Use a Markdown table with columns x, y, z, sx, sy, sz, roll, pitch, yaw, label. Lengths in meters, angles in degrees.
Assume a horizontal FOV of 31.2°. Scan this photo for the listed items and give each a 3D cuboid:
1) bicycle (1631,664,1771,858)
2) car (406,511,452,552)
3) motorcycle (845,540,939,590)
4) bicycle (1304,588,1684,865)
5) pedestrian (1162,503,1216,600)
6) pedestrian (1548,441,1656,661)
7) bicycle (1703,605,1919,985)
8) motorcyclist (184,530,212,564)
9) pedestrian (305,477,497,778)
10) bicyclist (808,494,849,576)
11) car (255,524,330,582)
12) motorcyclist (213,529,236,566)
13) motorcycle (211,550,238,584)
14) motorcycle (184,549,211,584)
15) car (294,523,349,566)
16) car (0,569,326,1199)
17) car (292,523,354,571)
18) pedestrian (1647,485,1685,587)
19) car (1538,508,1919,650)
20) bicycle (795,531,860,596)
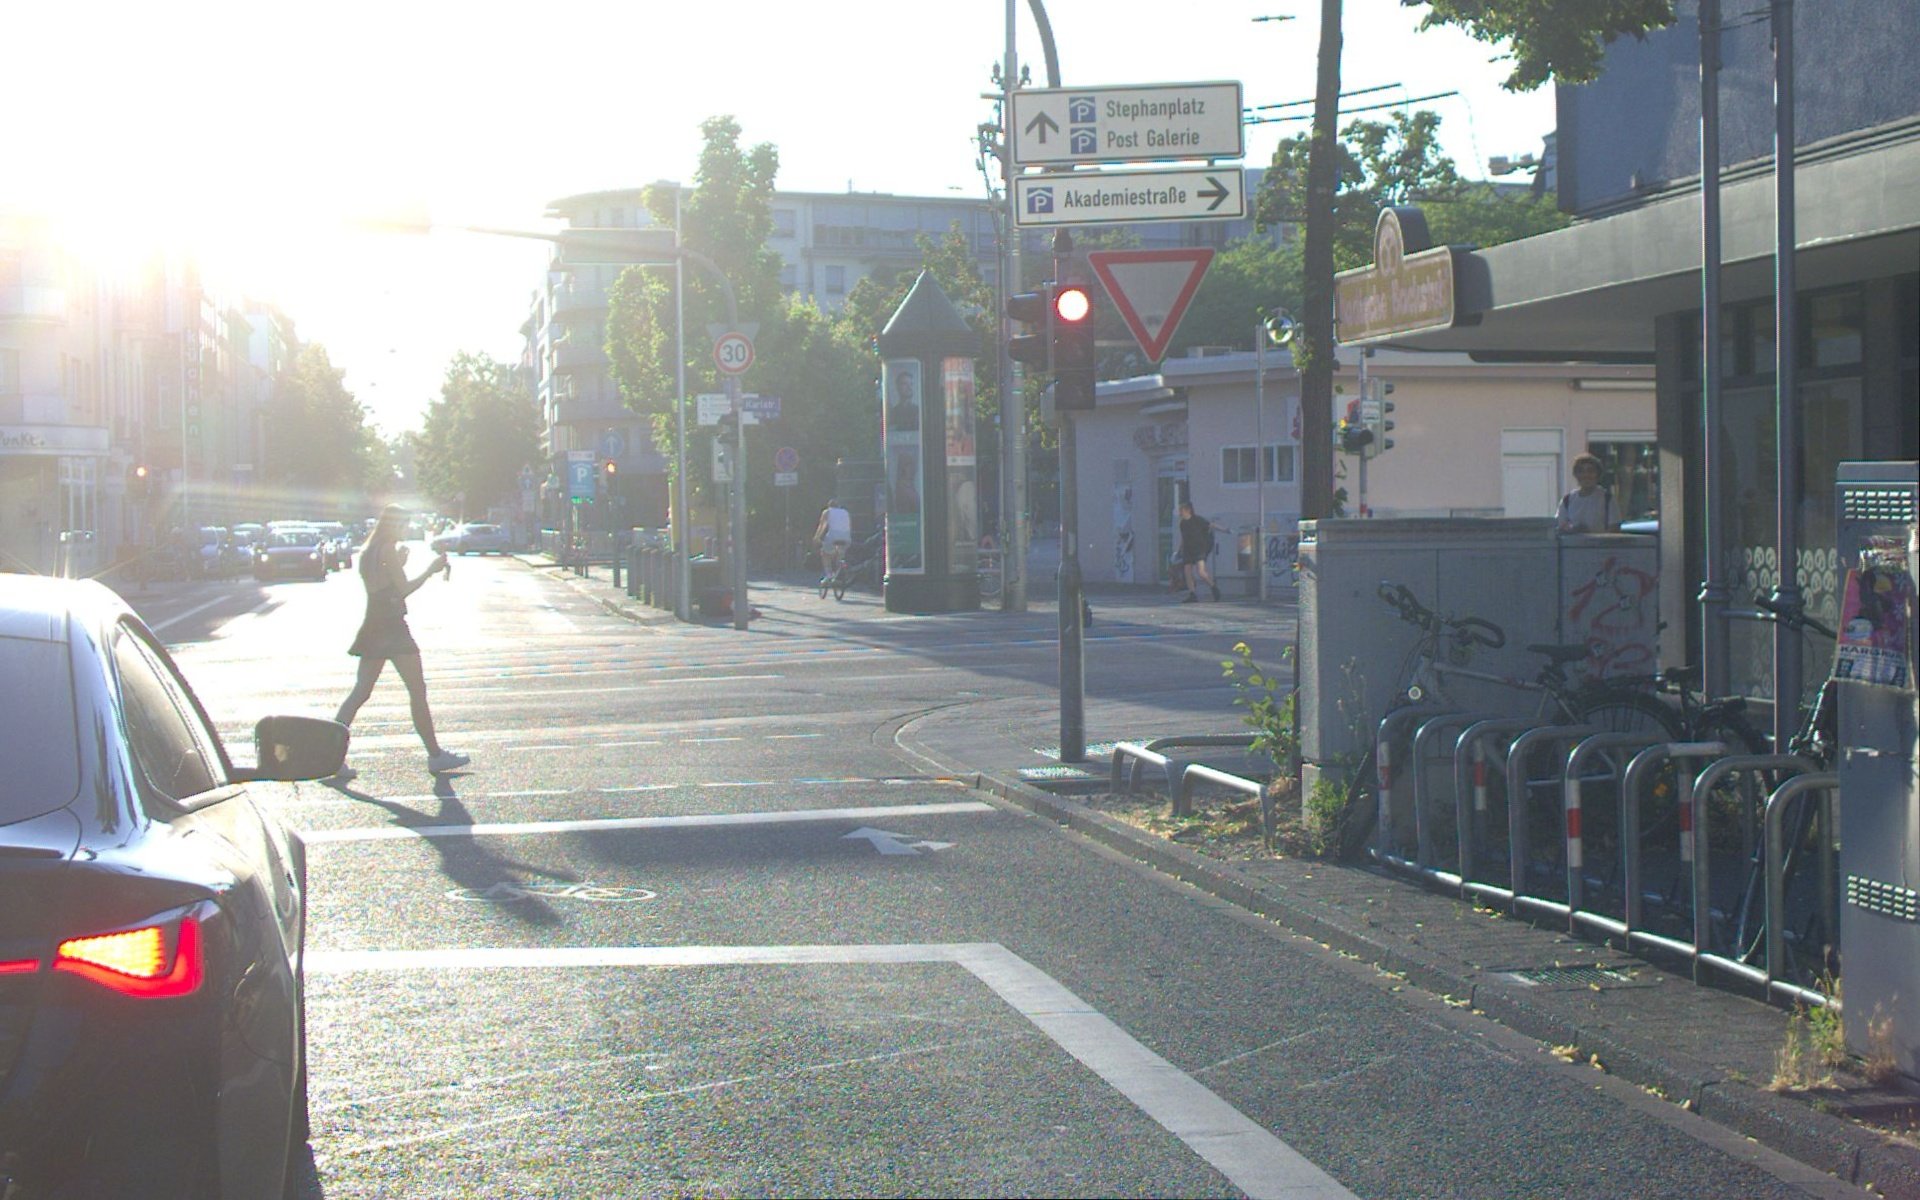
| x | y | z | sx | sy | sz | roll | pitch | yaw | label |
| --- | --- | --- | --- | --- | --- | --- | --- | --- | --- |
| 3.304 | 0.704 | 15.383 | 0.249 | 0.793 | 1.116 | 1 | 1 | -7 | bicycle |
| -25.033 | -3.238 | 162.160 | 1.771 | 1.842 | 4.001 | -1 | 2 | -4 | car |
| -1.341 | -0.690 | 67.866 | 1.668 | 0.935 | 0.856 | -1 | 2 | -19 | motorcycle |
| 2.352 | 0.547 | 15.161 | 1.612 | 1.167 | 0.318 | -1 | 1 | -6 | bicycle |
| 3.626 | -0.762 | 54.379 | 0.732 | 1.524 | 0.473 | 1 | 1 | -12 | pedestrian |
| 5.471 | -0.419 | 29.316 | 0.836 | 1.835 | 0.678 | -1 | 1 | 7 | pedestrian |
| 3.223 | 0.636 | 11.345 | 1.440 | 1.216 | 0.383 | 1 | 1 | -7 | bicycle |
| -20.869 | -1.456 | 94.158 | 0.575 | 0.912 | 2.201 | 1 | 1 | -8 | motorcyclist |
| -3.565 | 0.160 | 21.918 | 1.001 | 1.854 | 0.640 | -2 | 2 | -28 | pedestrian |
| -2.377 | -1.169 | 62.176 | 0.550 | 1.476 | 0.723 | 0 | 0 | -20 | bicyclist |
| -18.343 | -1.305 | 94.641 | 1.817 | 1.514 | 4.001 | -1 | 2 | -8 | car |
| -20.033 | -1.436 | 93.645 | 0.575 | 0.992 | 0.703 | 1 | 1 | -8 | motorcyclist |
| -20.057 | -0.908 | 93.753 | 0.575 | 0.912 | 2.201 | 1 | 1 | -8 | motorcycle |
| -20.875 | -0.926 | 94.145 | 0.575 | 0.912 | 2.201 | 1 | 1 | -8 | motorcycle |
| -23.340 | -2.047 | 125.796 | 1.817 | 1.514 | 4.001 | -1 | 2 | -8 | car |
| -2.113 | 0.680 | 6.492 | 1.736 | 1.424 | 4.225 | 0 | 1 | -10 | car |
| -20.906 | -1.759 | 112.959 | 1.817 | 1.514 | 4.001 | -1 | 2 | -8 | car |
| 11.986 | -1.087 | 58.363 | 0.442 | 1.729 | 0.434 | 0 | 1 | -33 | pedestrian |
| 8.765 | -0.274 | 38.640 | 4.406 | 1.468 | 1.818 | -2 | 2 | -33 | car |
| -2.406 | -0.665 | 62.259 | 0.550 | 1.155 | 2.145 | 0 | 1 | -20 | bicycle |
